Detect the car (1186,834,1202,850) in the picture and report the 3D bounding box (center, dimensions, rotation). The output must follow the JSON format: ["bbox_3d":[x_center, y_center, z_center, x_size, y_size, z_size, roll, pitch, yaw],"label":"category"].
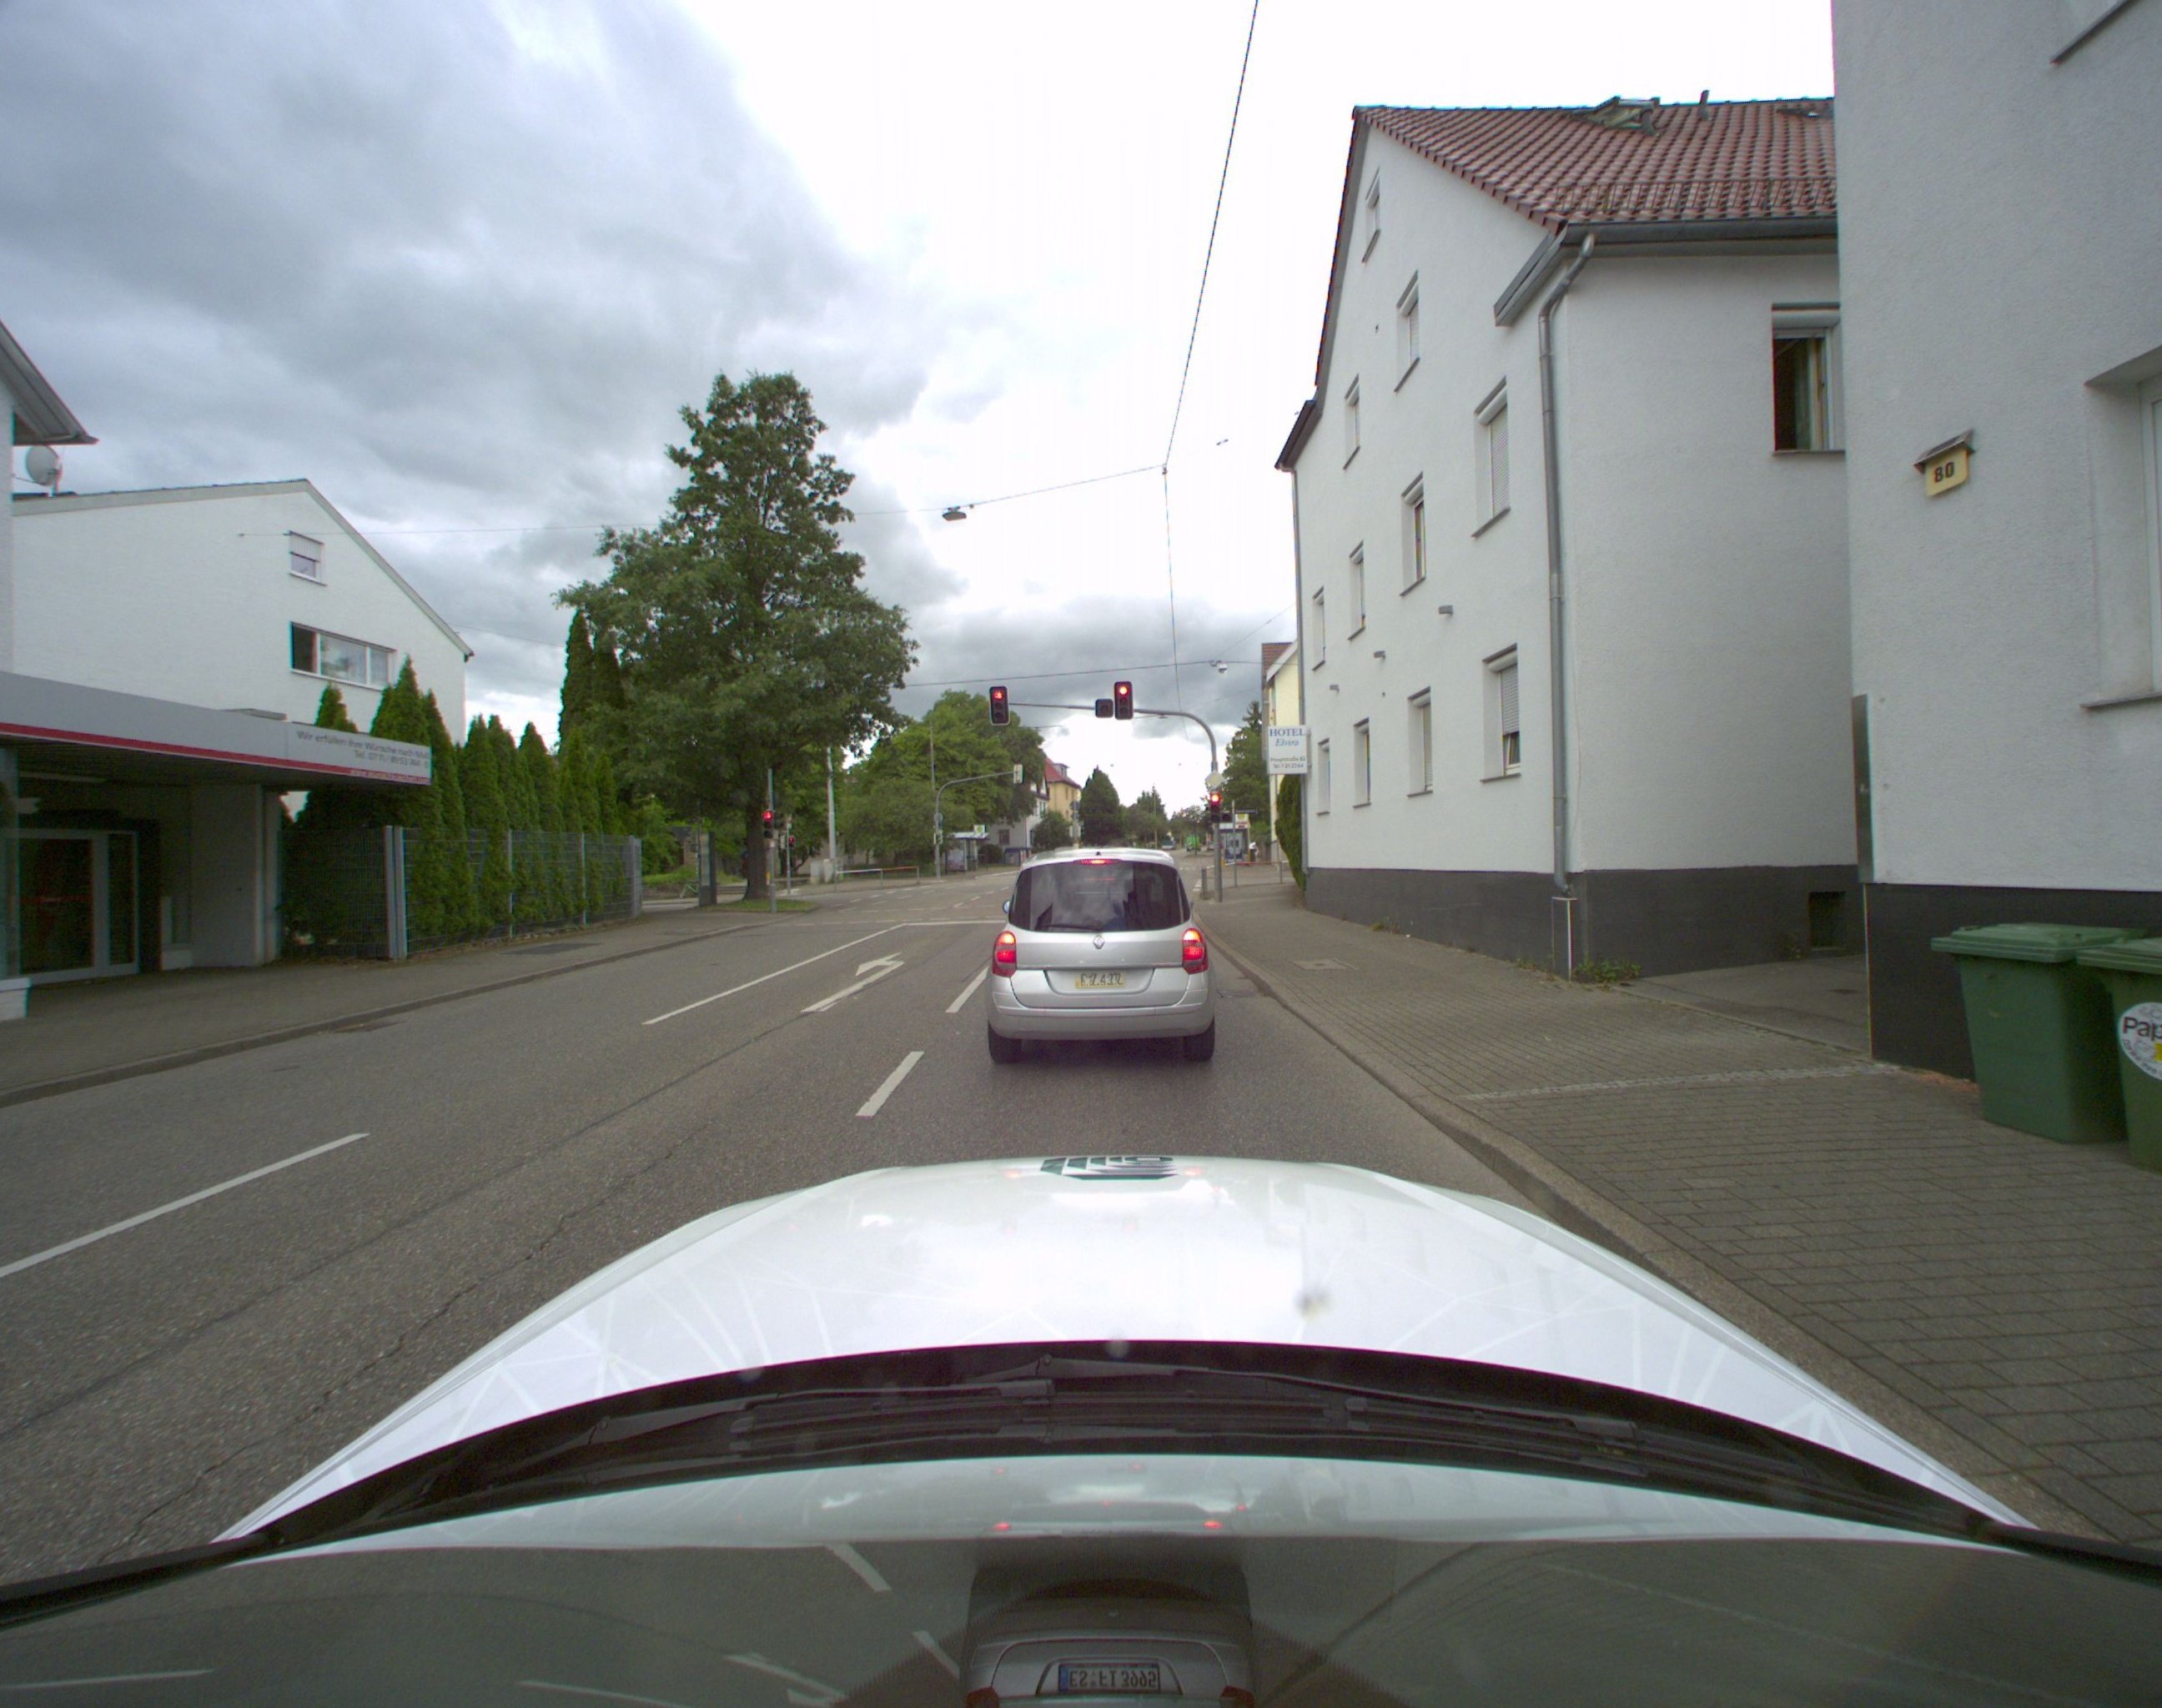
[{"bbox_3d":[18.037,-1.874,129.745,2.044,2.512,5.616,-1,0,14],"label":"car"}]

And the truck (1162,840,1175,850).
[{"bbox_3d":[17.918,-1.872,167.230,2.088,2.013,5.766,-1,0,11],"label":"truck"}]

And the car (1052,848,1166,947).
[{"bbox_3d":[0.486,0.683,14.612,1.748,1.530,3.798,-1,0,1],"label":"car"}]

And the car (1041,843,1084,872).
[{"bbox_3d":[-1.194,0.215,55.252,1.913,1.773,4.013,-5,-1,12],"label":"car"}]

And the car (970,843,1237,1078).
[{"bbox_3d":[0.198,0.709,7.392,1.748,1.530,4.001,-1,0,1],"label":"car"}]

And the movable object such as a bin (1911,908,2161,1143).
[{"bbox_3d":[4.358,0.753,3.738,0.538,0.941,0.487,-4,0,2],"label":"movable object such as a bin"}]

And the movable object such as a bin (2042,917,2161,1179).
[{"bbox_3d":[4.365,0.752,3.201,0.538,0.941,0.487,-4,0,2],"label":"movable object such as a bin"}]
